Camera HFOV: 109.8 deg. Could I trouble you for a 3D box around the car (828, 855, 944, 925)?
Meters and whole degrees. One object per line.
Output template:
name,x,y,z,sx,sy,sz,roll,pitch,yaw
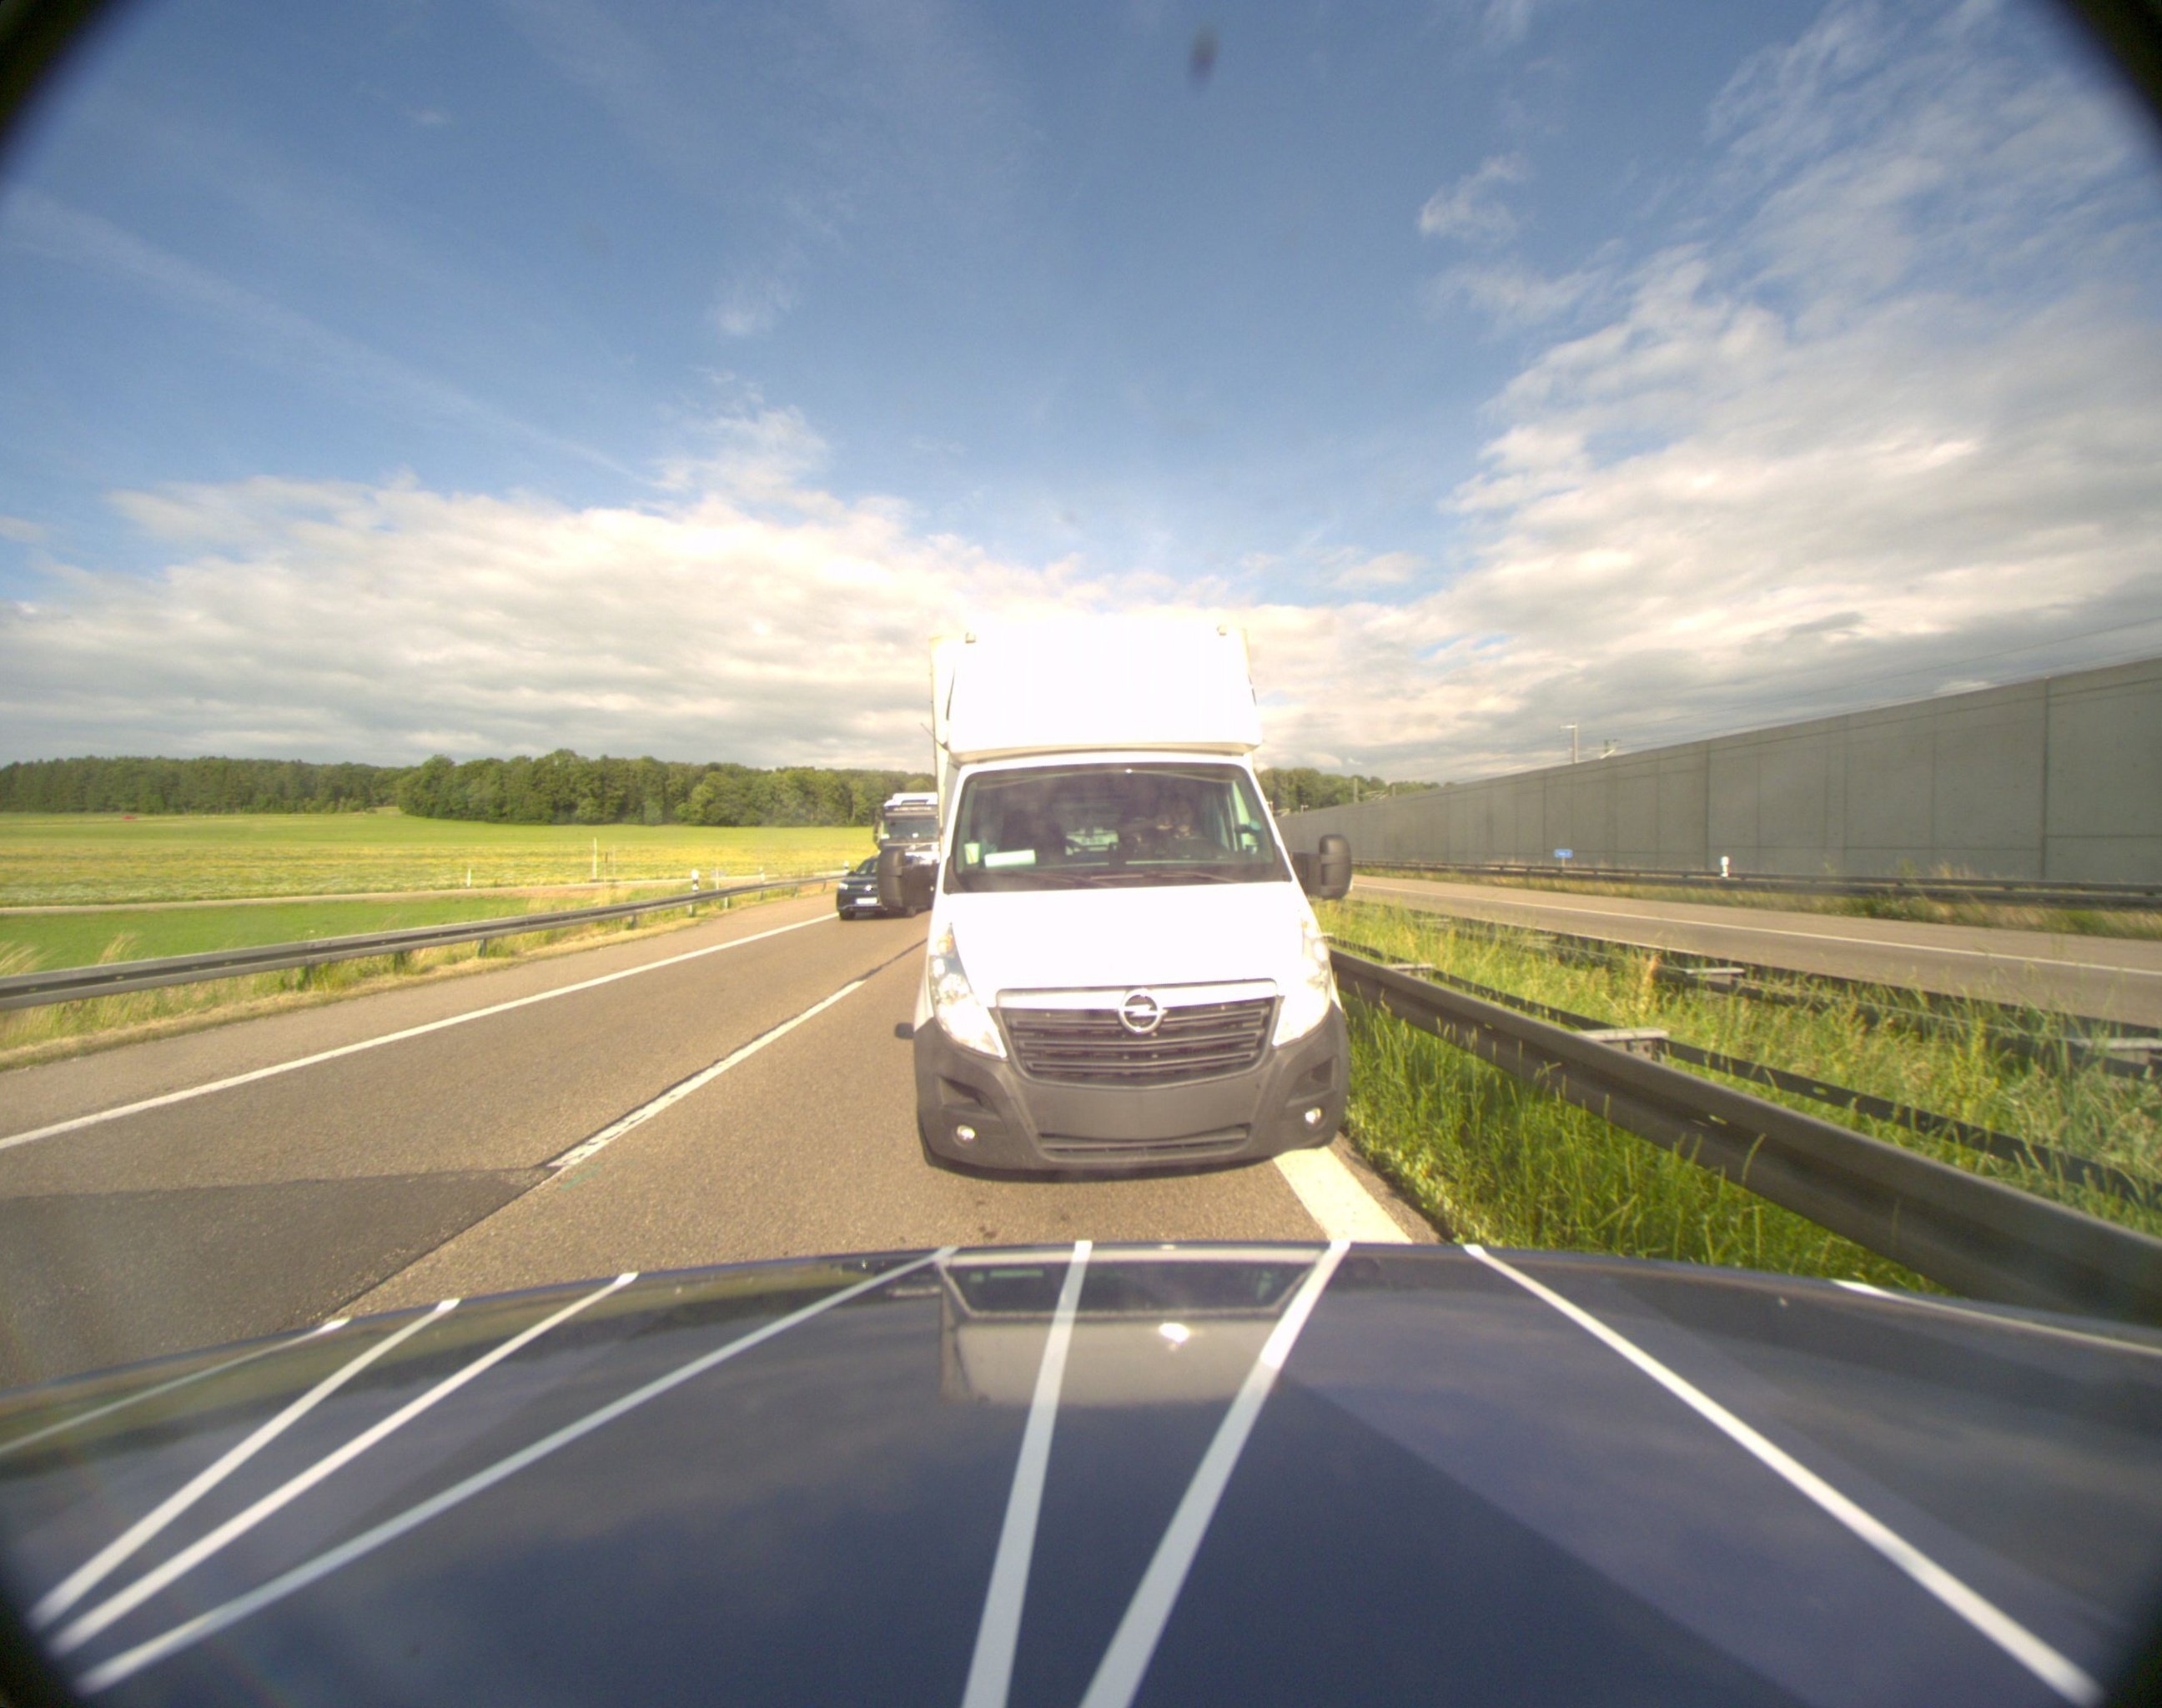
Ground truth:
car,-5.136,0.888,20.641,1.998,1.587,4.118,-2,1,1

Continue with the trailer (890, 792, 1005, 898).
trailer,-5.706,-0.411,35.061,2.826,3.959,12.127,-2,1,1

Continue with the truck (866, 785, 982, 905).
truck,-5.784,-0.341,29.207,2.842,3.967,6.500,-2,1,1

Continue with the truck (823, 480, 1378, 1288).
truck,0.138,0.090,6.868,2.060,3.088,7.803,-2,1,1
